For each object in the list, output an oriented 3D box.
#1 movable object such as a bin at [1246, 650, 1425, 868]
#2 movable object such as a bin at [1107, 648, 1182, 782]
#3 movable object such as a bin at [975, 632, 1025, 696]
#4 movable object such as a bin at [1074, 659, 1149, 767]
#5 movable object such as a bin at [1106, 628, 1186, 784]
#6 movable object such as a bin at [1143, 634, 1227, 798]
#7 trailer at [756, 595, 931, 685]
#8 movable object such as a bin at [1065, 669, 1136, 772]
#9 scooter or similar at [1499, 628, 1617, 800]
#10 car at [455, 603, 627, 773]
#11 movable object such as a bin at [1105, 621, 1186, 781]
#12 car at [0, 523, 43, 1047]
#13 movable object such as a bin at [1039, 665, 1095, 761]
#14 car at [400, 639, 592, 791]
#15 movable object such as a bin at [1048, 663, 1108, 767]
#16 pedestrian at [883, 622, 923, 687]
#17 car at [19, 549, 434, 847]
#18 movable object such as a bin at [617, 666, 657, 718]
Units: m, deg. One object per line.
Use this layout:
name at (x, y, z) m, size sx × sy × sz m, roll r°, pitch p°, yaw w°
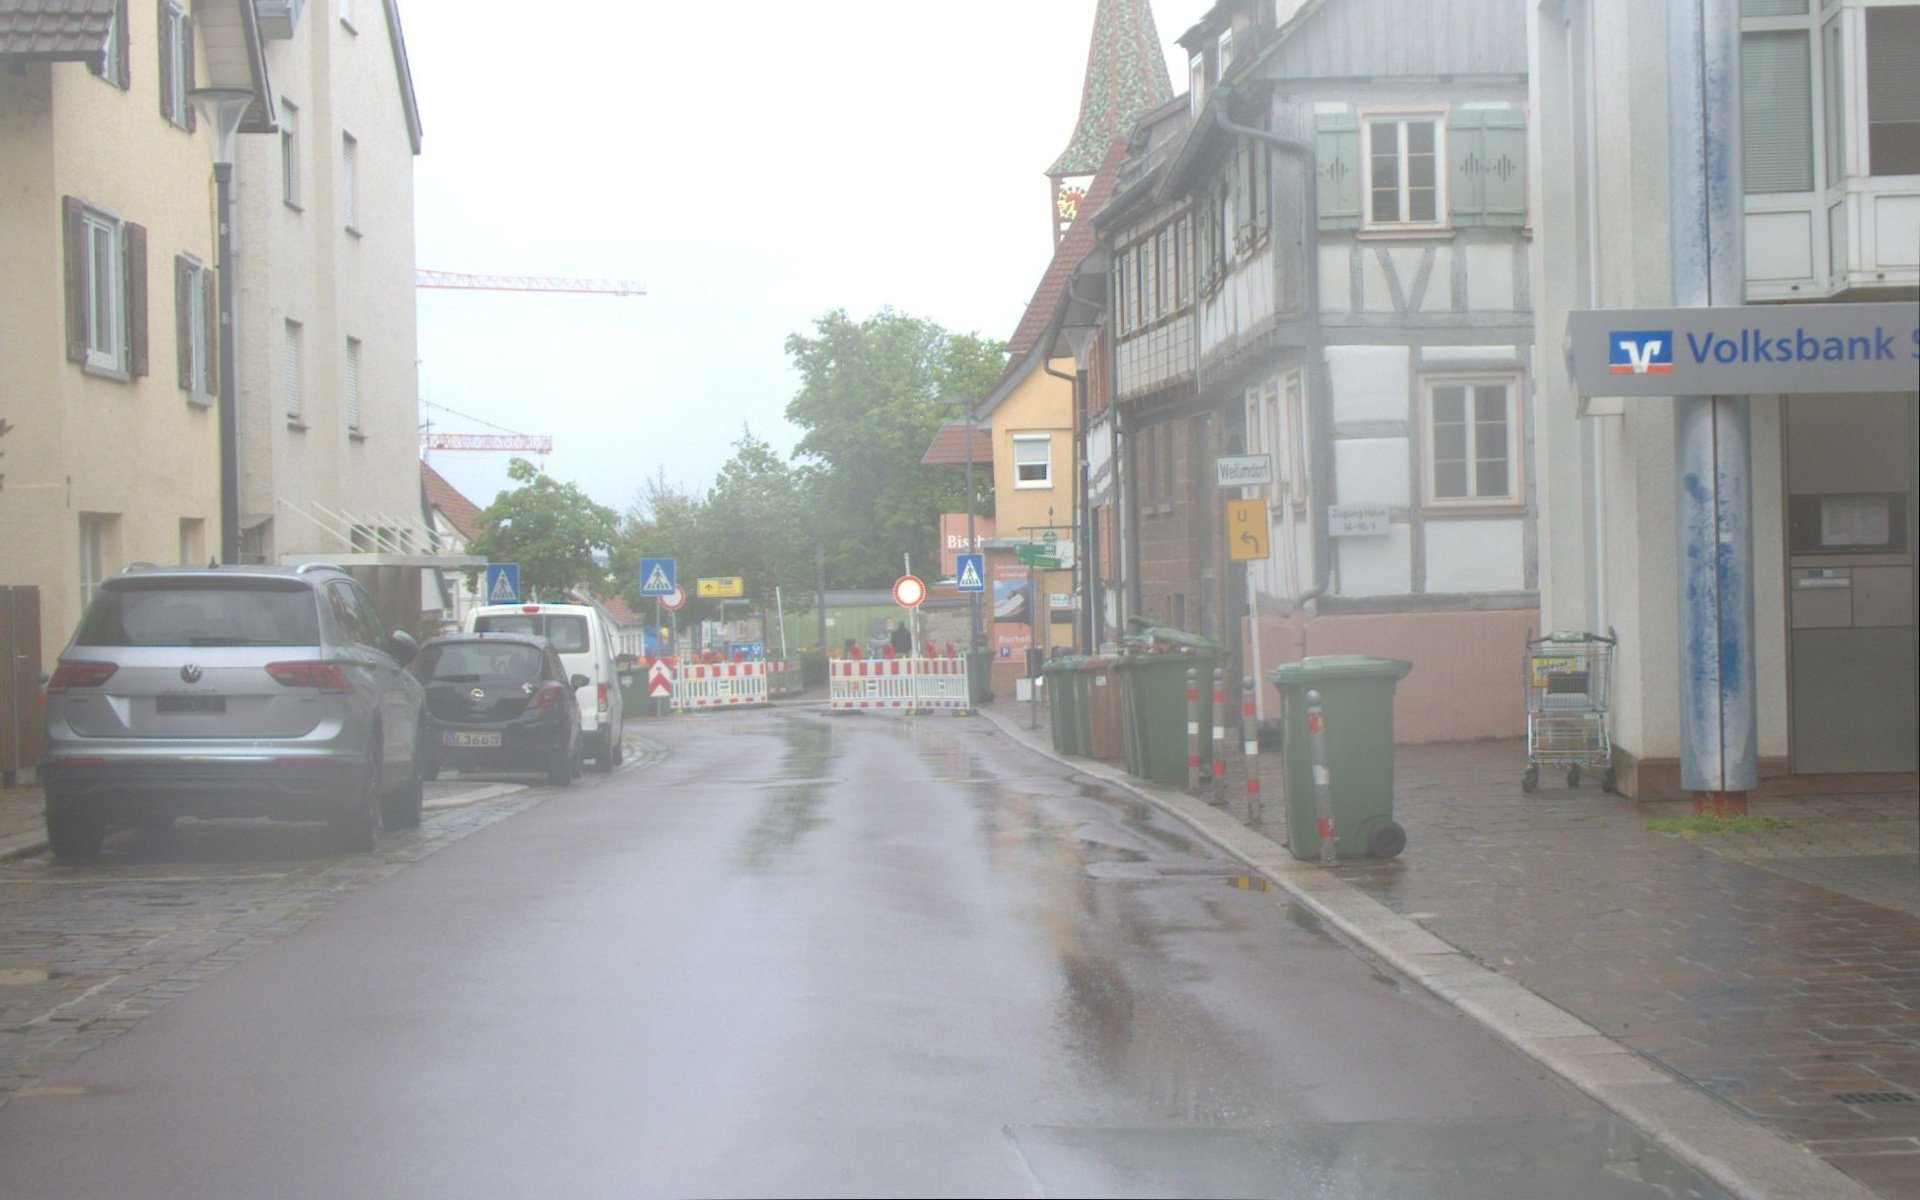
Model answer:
movable object such as a bin at (2.001, 0.842, 18.424) m, size 0.804 × 1.127 × 0.862 m, roll -1°, pitch -2°, yaw -3°
movable object such as a bin at (1.586, 0.984, 29.571) m, size 0.616 × 1.127 × 0.632 m, roll -1°, pitch -2°, yaw 3°
movable object such as a bin at (1.012, 1.613, 86.580) m, size 1.065 × 1.507 × 1.242 m, roll -4°, pitch -1°, yaw 6°
movable object such as a bin at (1.560, 1.159, 35.467) m, size 0.678 × 1.093 × 0.650 m, roll 0°, pitch -1°, yaw -5°
movable object such as a bin at (1.557, 0.885, 28.815) m, size 0.638 × 1.286 × 0.632 m, roll -1°, pitch -2°, yaw 3°
movable object such as a bin at (1.786, 0.920, 27.346) m, size 0.638 × 1.286 × 0.632 m, roll -1°, pitch -2°, yaw 3°
trailer at (-3.980, 1.372, 117.038) m, size 5.780 × 2.938 × 2.000 m, roll -1°, pitch -2°, yaw -7°
movable object such as a bin at (1.502, 1.289, 36.785) m, size 0.669 × 1.078 × 0.588 m, roll -2°, pitch -2°, yaw -3°
scooter or similar at (4.113, 0.778, 23.730) m, size 0.665 × 1.142 × 1.445 m, roll -1°, pitch -1°, yaw 5°
car at (-4.762, 1.013, 39.533) m, size 1.723 × 1.819 × 4.428 m, roll -1°, pitch -1°, yaw -4°
movable object such as a bin at (1.518, 0.822, 28.113) m, size 0.638 × 1.286 × 0.632 m, roll -1°, pitch -2°, yaw 3°
car at (-3.655, 0.560, 7.868) m, size 1.830 × 1.493 × 4.763 m, roll -2°, pitch 0°, yaw 0°
movable object such as a bin at (1.272, 1.350, 41.039) m, size 0.609 × 1.124 × 0.599 m, roll -1°, pitch -2°, yaw -2°
car at (-4.492, 1.111, 33.689) m, size 1.680 × 1.384 × 3.826 m, roll -1°, pitch -1°, yaw -5°
movable object such as a bin at (1.310, 1.272, 38.141) m, size 0.638 × 1.143 × 0.603 m, roll -1°, pitch -2°, yaw 3°
pedestrian at (-1.553, 1.495, 93.605) m, size 0.990 × 1.753 × 0.852 m, roll -1°, pitch -2°, yaw -8°
car at (-4.259, 0.578, 20.596) m, size 1.779 × 1.563 × 4.408 m, roll -1°, pitch -1°, yaw -4°
movable object such as a bin at (-6.582, 1.866, 70.055) m, size 0.544 × 1.029 × 0.533 m, roll -5°, pitch -3°, yaw 31°
